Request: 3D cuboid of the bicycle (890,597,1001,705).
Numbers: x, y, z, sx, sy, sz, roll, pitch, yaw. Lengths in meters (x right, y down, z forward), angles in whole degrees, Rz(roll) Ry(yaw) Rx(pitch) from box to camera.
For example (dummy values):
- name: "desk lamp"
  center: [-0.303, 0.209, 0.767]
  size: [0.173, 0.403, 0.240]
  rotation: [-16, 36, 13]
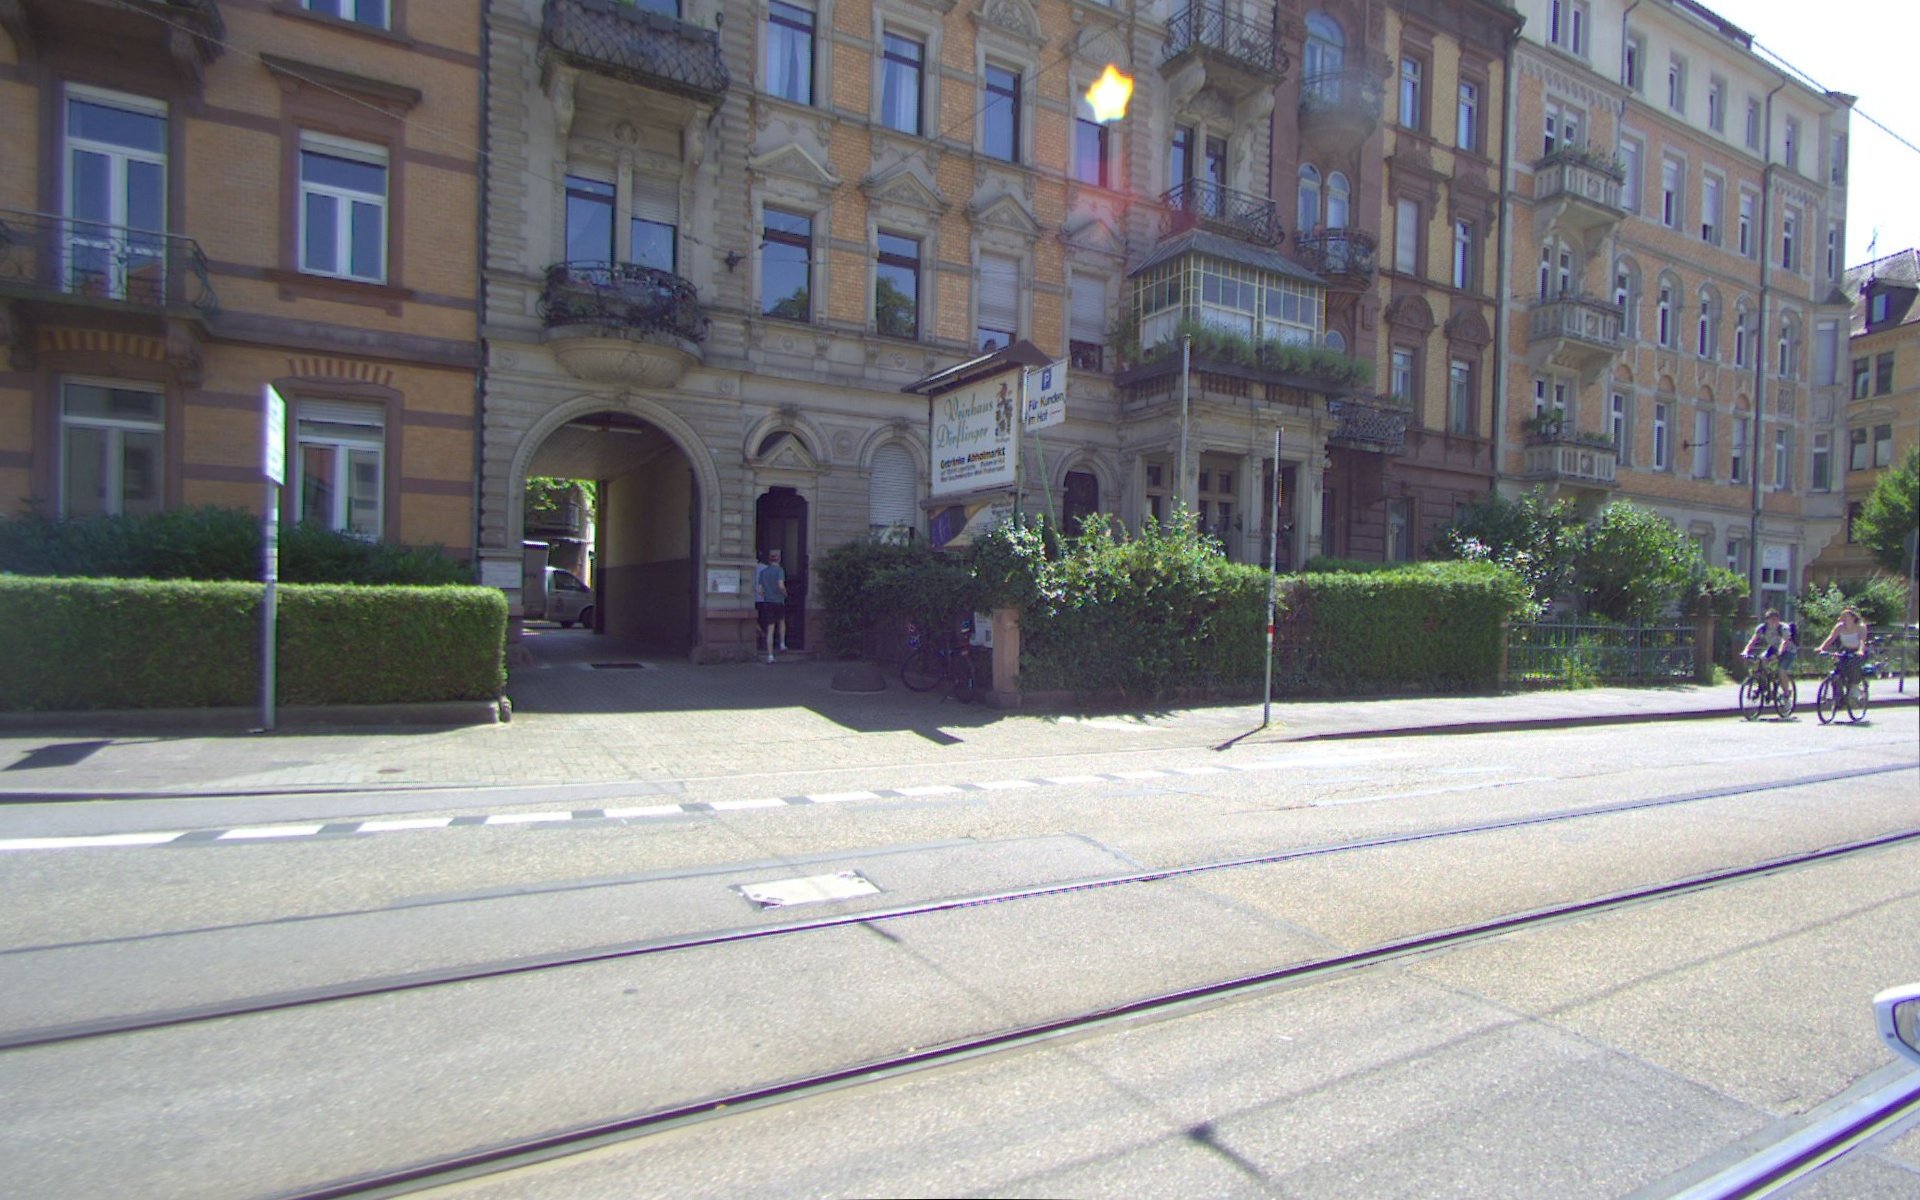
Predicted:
- name: "bicycle"
  center: [-0.232, 0.632, 13.264]
  size: [0.562, 1.244, 1.860]
  rotation: [1, 2, -31]

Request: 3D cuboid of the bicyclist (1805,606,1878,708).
- name: "bicyclist"
  center: [13.955, 0.891, 15.902]
  size: [0.941, 1.565, 0.590]
  rotation: [1, -1, -30]

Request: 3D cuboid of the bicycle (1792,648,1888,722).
- name: "bicycle"
  center: [13.933, 1.315, 15.893]
  size: [1.868, 1.092, 0.578]
  rotation: [1, -1, -30]

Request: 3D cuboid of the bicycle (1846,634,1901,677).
- name: "bicycle"
  center: [23.126, 1.388, 25.430]
  size: [1.691, 1.000, 0.494]
  rotation: [1, 4, -31]

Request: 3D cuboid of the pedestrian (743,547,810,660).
- name: "pedestrian"
  center: [-3.155, 0.059, 17.345]
  size: [0.800, 1.882, 0.879]
  rotation: [2, 1, 13]

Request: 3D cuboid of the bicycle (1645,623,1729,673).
- name: "bicycle"
  center: [16.748, 1.093, 23.173]
  size: [0.489, 1.057, 1.504]
  rotation: [1, 0, -27]

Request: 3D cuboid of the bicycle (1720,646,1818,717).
- name: "bicycle"
  center: [13.368, 1.321, 16.579]
  size: [1.853, 1.092, 0.626]
  rotation: [1, -1, -30]

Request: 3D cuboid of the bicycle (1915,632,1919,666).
- name: "bicycle"
  center: [30.098, 1.534, 30.337]
  size: [0.543, 1.051, 1.700]
  rotation: [1, 1, -24]

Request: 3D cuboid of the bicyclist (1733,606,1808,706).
- name: "bicyclist"
  center: [13.384, 0.911, 16.590]
  size: [1.016, 1.605, 0.631]
  rotation: [1, -1, -30]

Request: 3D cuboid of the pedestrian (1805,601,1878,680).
- name: "pedestrian"
  center: [20.658, 0.946, 23.546]
  size: [1.125, 1.746, 0.847]
  rotation: [1, 3, -29]

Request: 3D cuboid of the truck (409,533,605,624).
- name: "truck"
  center: [-14.088, -0.603, 31.443]
  size: [5.201, 2.597, 2.072]
  rotation: [1, 1, -44]

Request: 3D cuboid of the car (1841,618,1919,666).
- name: "car"
  center: [31.211, 1.417, 32.471]
  size: [1.692, 1.447, 3.744]
  rotation: [3, 0, -28]
